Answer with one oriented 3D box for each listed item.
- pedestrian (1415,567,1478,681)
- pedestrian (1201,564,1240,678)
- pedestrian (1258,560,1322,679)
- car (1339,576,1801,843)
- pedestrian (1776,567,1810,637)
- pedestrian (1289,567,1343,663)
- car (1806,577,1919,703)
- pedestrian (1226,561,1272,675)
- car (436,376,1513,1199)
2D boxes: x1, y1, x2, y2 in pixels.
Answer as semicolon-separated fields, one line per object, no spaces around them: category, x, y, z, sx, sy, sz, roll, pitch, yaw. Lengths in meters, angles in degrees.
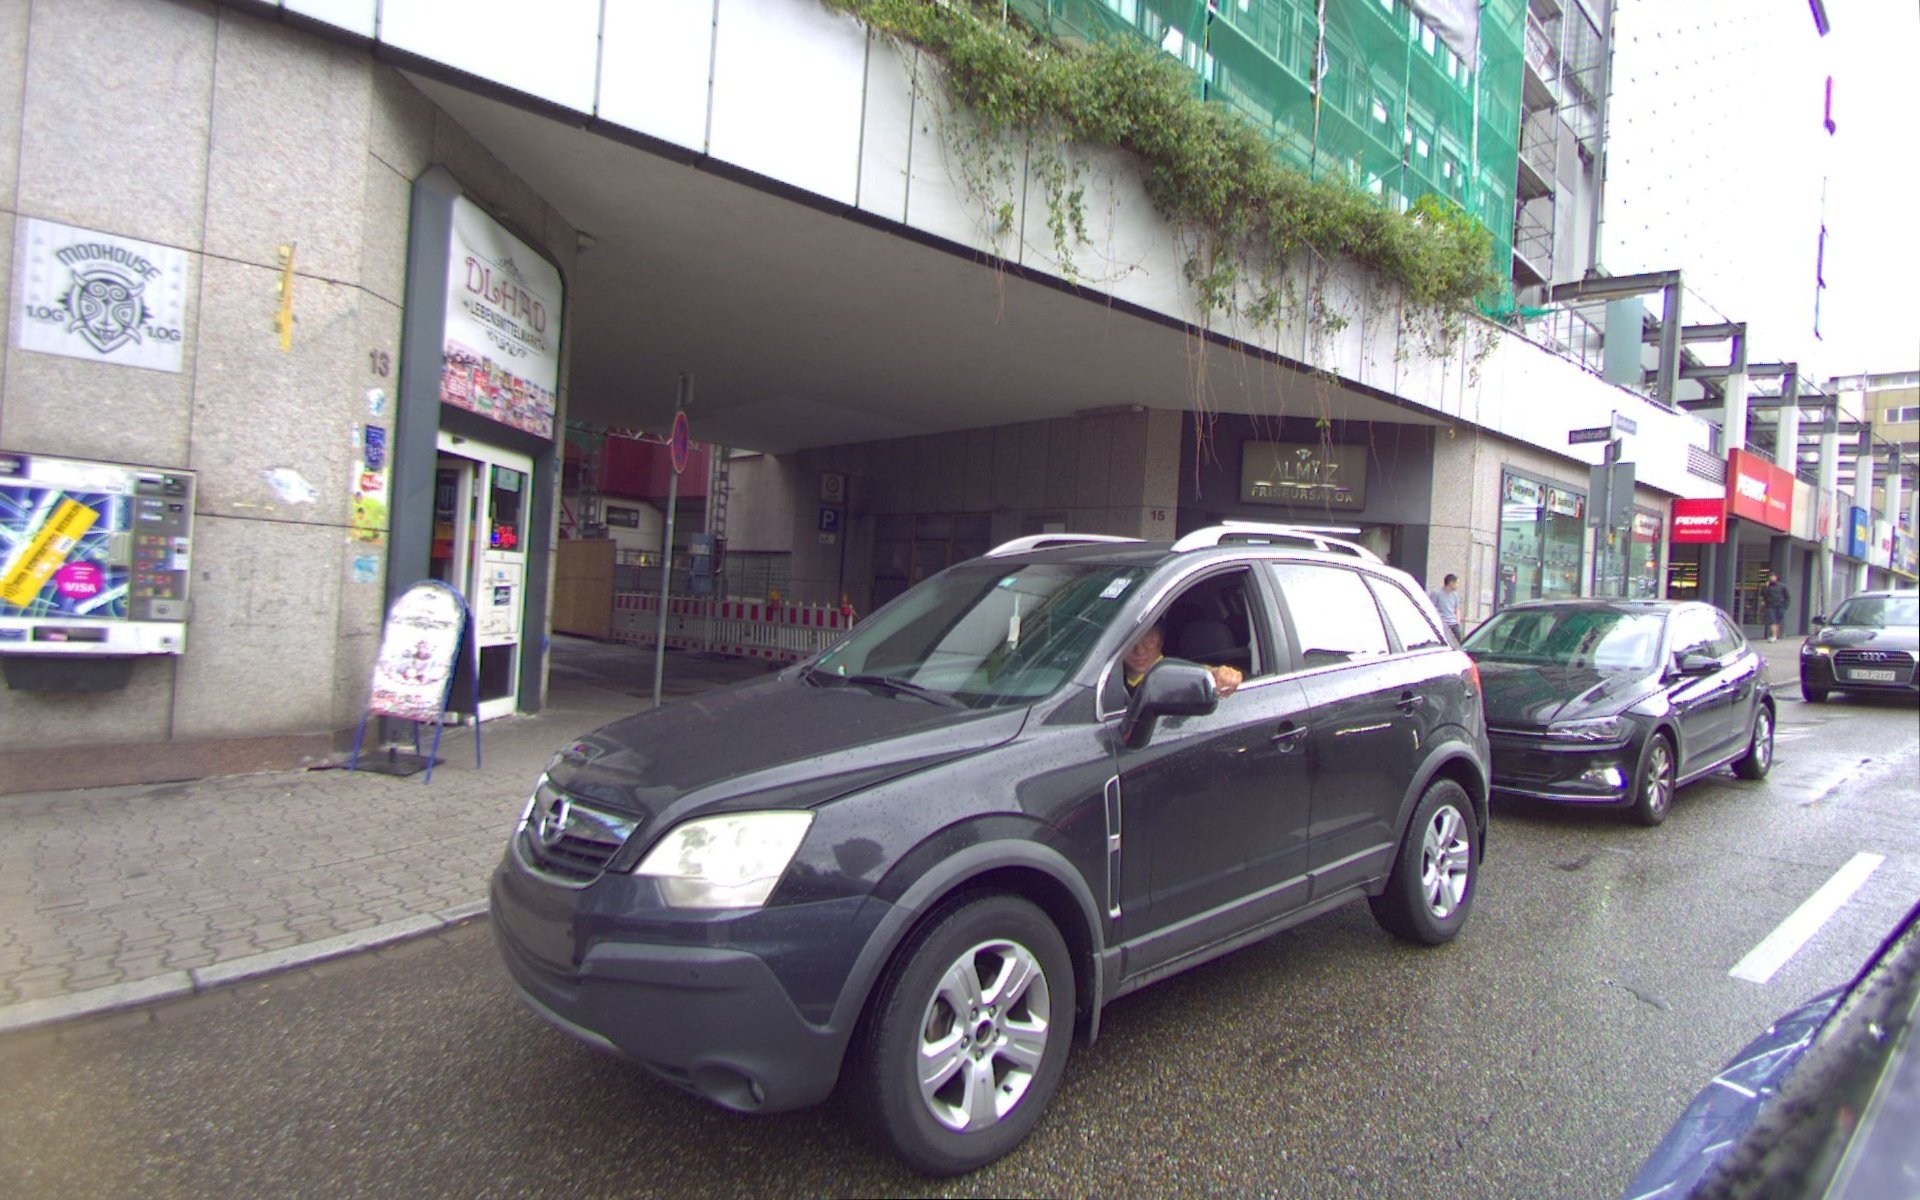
pedestrian;7.312;0.342;15.205;0.721;1.663;0.637;-1;1;-44
pedestrian;4.015;0.317;15.604;0.474;1.729;0.467;0;0;1
pedestrian;5.244;0.288;16.119;0.730;1.838;0.773;2;2;3
car;4.812;0.642;7.756;4.088;1.523;1.759;1;0;-39
pedestrian;20.437;0.037;24.840;0.570;1.699;0.509;-1;3;-42
pedestrian;6.347;0.250;18.055;0.568;1.647;0.677;-1;3;-34
car;13.823;0.494;14.535;4.089;1.628;1.841;-1;1;-39
pedestrian;4.220;0.248;14.772;0.630;1.615;0.574;0;1;17
car;0.410;0.473;3.979;4.090;1.788;1.763;1;0;-40
